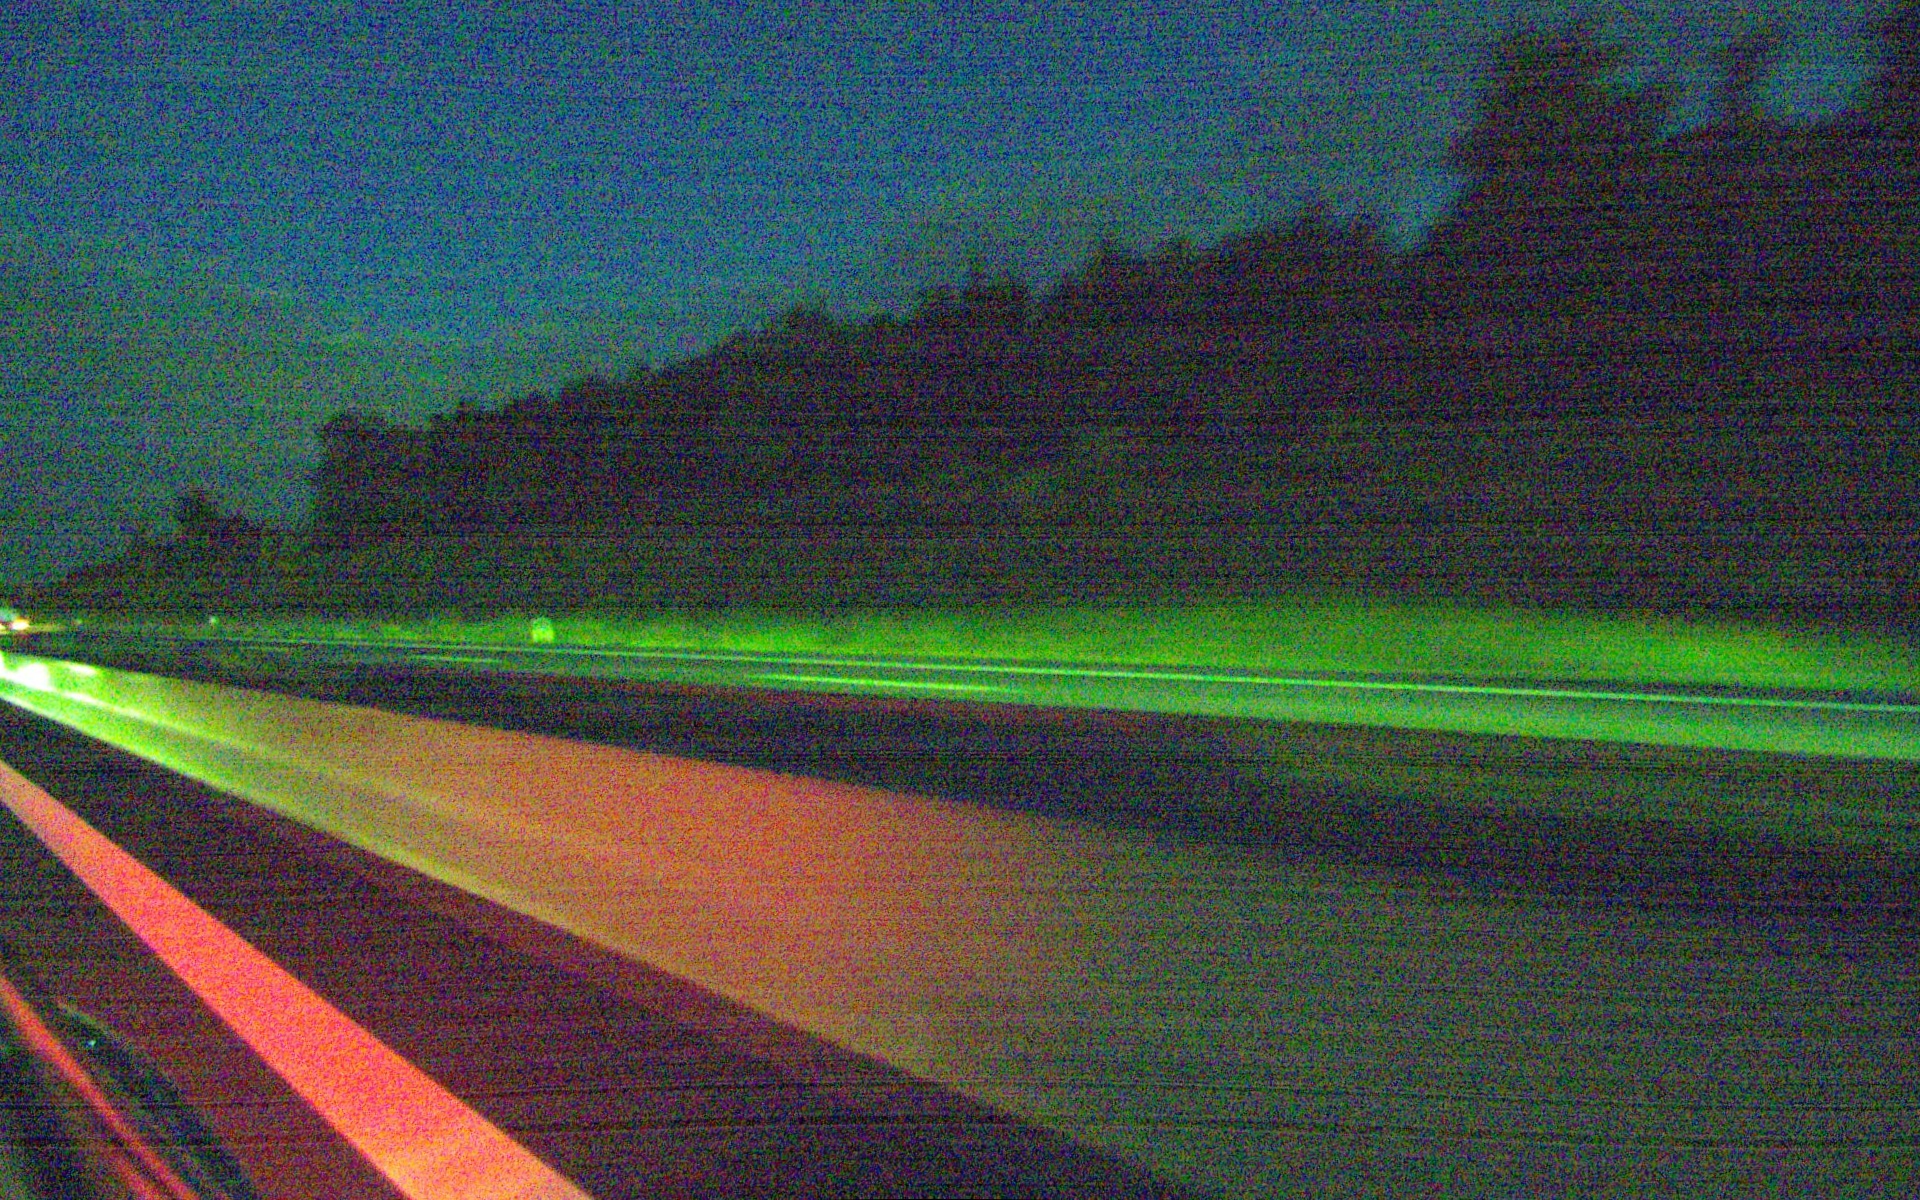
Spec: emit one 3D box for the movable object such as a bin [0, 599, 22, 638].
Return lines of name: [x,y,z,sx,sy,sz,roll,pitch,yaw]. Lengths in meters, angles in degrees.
movable object such as a bin: [-94.983,1.833,100.077,7.680,3.798,2.270,-1,-1,40]
